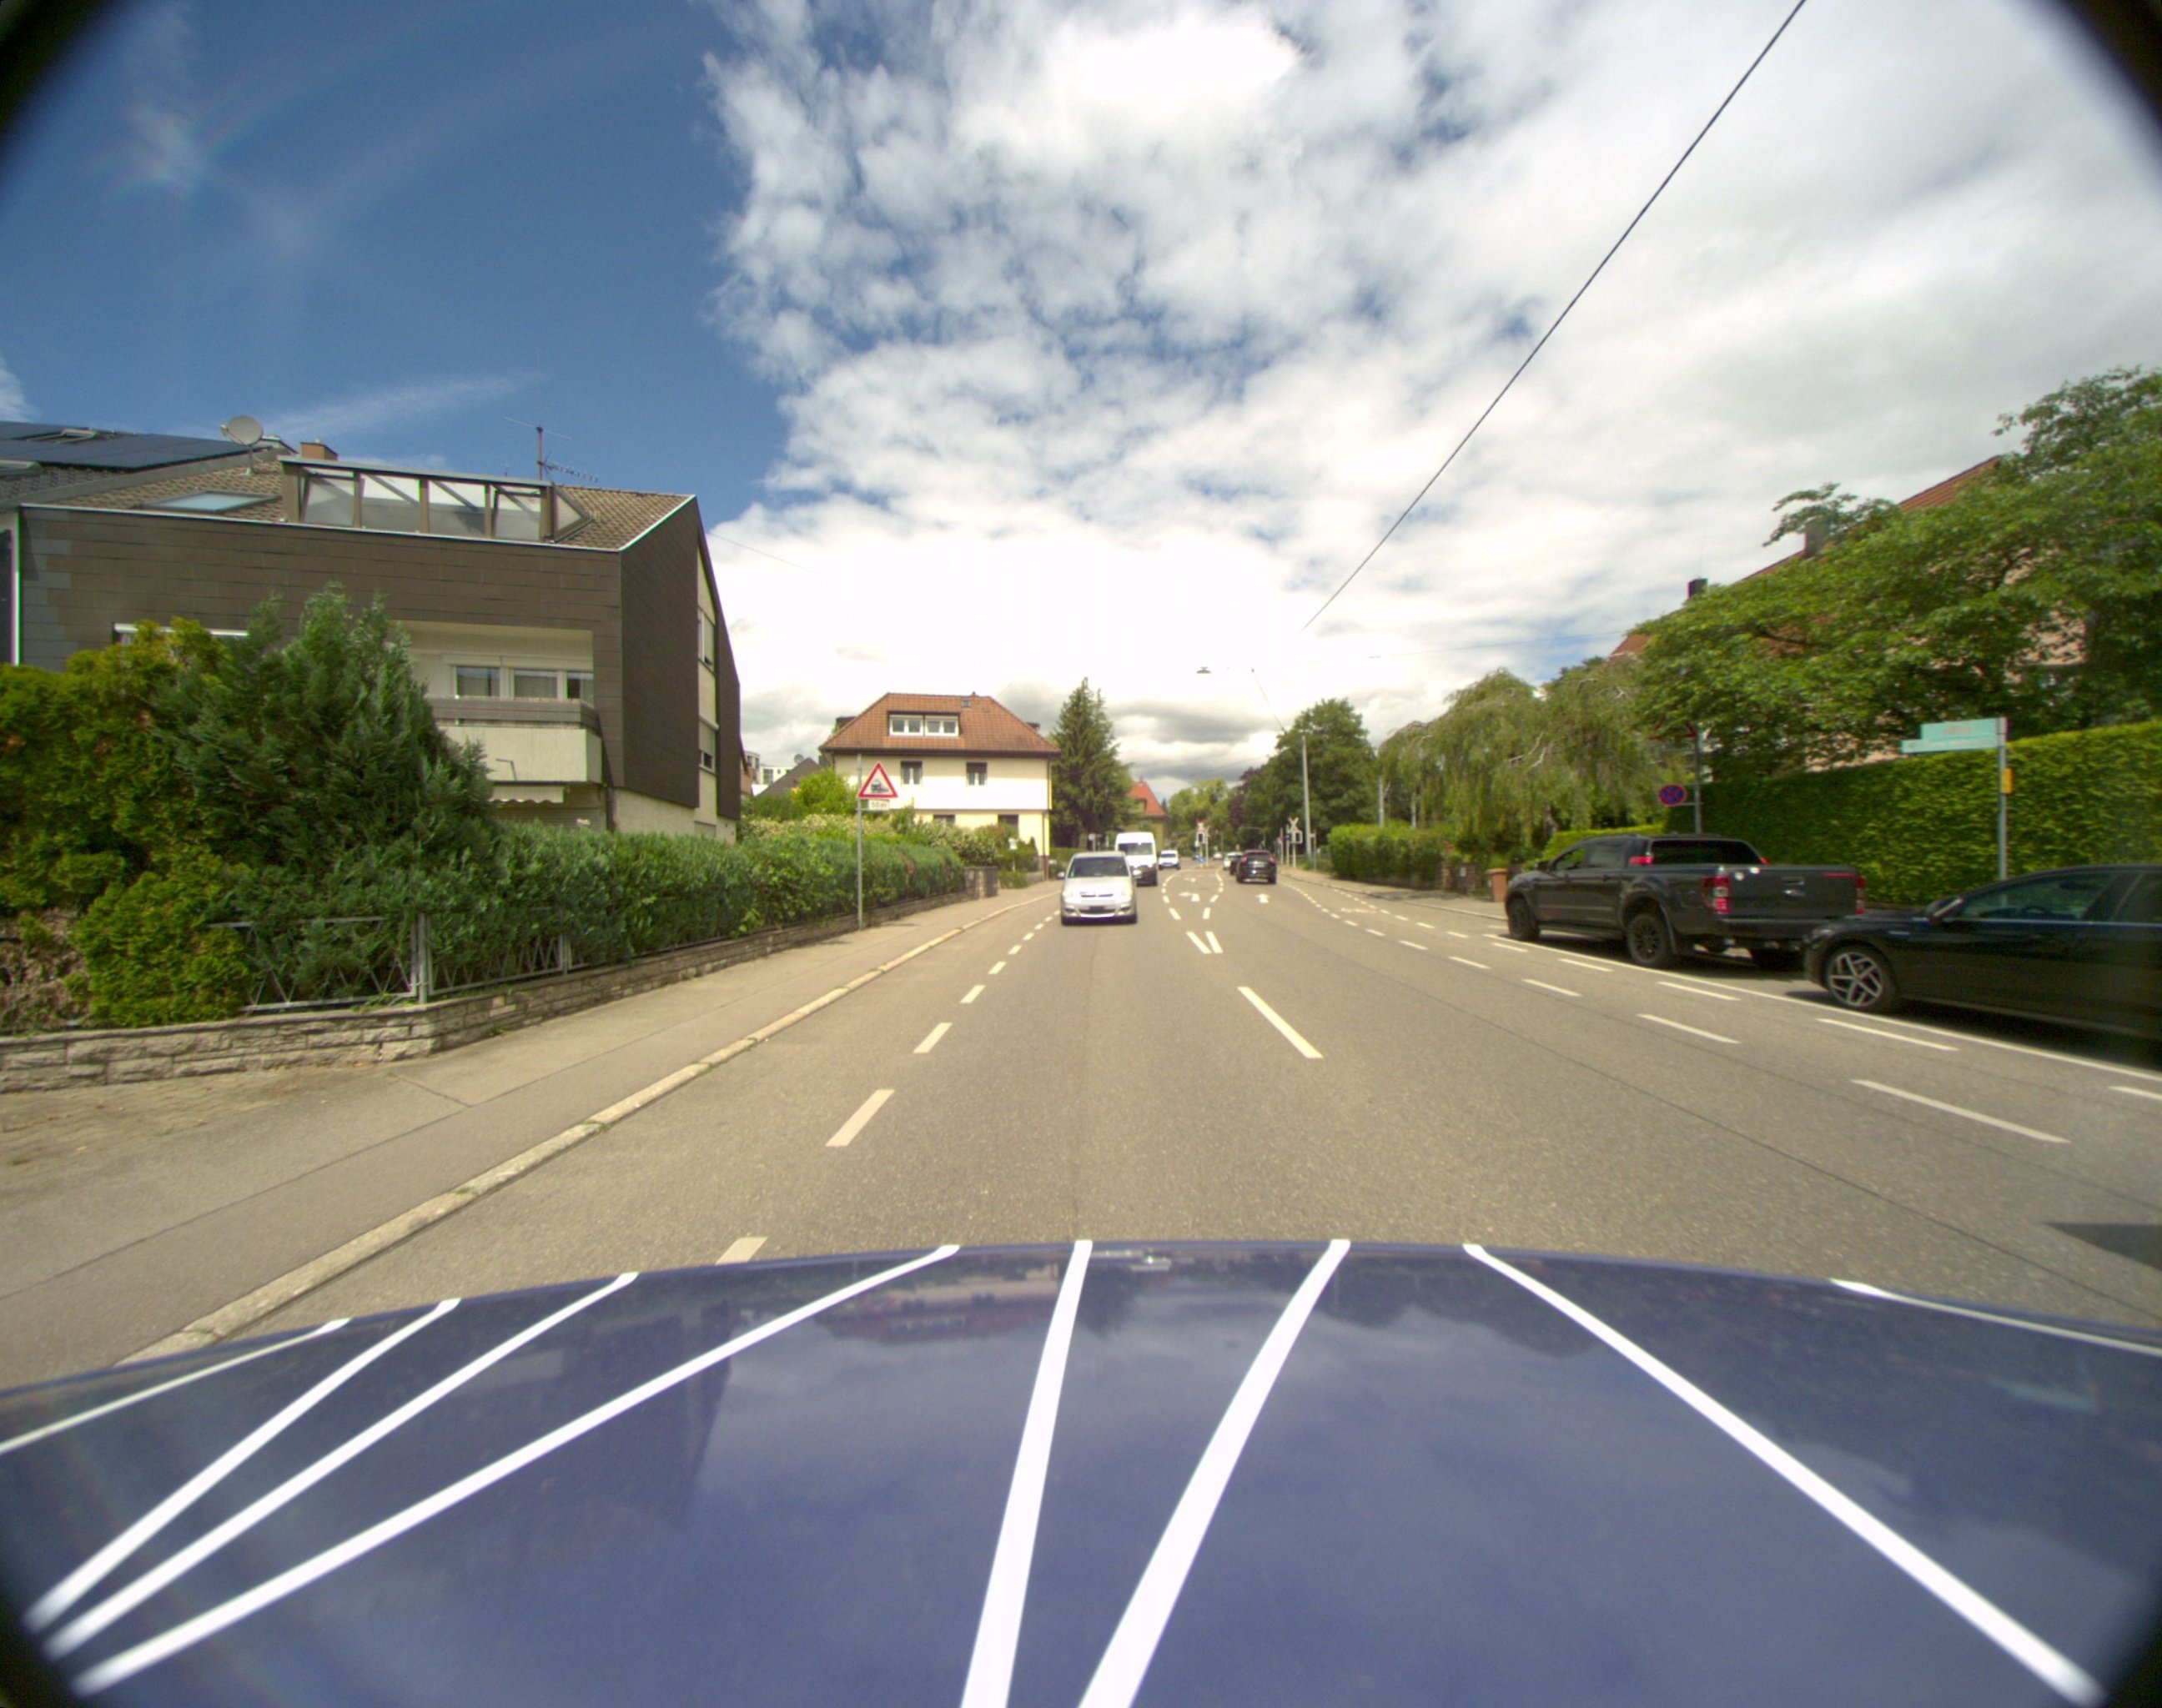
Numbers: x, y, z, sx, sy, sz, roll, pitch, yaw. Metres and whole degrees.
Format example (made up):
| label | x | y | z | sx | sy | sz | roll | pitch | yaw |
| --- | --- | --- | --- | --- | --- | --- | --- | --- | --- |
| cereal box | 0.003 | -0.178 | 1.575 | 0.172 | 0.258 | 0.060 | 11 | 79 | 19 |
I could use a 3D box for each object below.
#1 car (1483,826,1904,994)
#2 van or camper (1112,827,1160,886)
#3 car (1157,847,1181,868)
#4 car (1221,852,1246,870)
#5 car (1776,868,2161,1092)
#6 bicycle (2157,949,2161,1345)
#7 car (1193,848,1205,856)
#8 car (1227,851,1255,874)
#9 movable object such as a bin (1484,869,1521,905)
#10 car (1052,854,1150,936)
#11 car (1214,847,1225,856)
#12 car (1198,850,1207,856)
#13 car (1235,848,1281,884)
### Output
| label | x | y | z | sx | sy | sz | roll | pitch | yaw |
| --- | --- | --- | --- | --- | --- | --- | --- | --- | --- |
| car | 8.382 | 0.619 | 11.336 | 1.998 | 1.884 | 5.404 | 1 | 0 | 2 |
| van or camper | 2.741 | 0.150 | 37.043 | 2.029 | 2.564 | 5.925 | -2 | -1 | 5 |
| car | 8.106 | 0.298 | 69.663 | 1.932 | 1.771 | 4.003 | -2 | 0 | 10 |
| car | 13.055 | 0.550 | 65.289 | 1.879 | 1.467 | 4.445 | 0 | 1 | 9 |
| car | 8.120 | 0.870 | 5.767 | 1.782 | 1.409 | 4.339 | -1 | 0 | 1 |
| bicycle | 3.889 | 0.956 | 1.135 | 0.865 | 1.294 | 2.662 | -1 | 0 | 3 |
| car | 22.766 | -0.384 | 146.851 | 1.997 | 1.419 | 4.003 | -3 | 1 | 12 |
| car | 10.959 | 0.526 | 52.153 | 1.700 | 1.448 | 4.118 | 1 | 1 | 10 |
| movable object such as a bin | 11.637 | 0.915 | 20.984 | 0.678 | 0.939 | 0.645 | -2 | 1 | 5 |
| car | 0.584 | 0.823 | 17.254 | 1.707 | 1.531 | 4.333 | -2 | 0 | 8 |
| car | 25.164 | -0.484 | 137.681 | 1.931 | 1.412 | 4.003 | -2 | 0 | 11 |
| car | 30.423 | -0.315 | 190.065 | 1.931 | 1.412 | 4.003 | -2 | 0 | 11 |
| car | 8.964 | 0.562 | 38.692 | 1.919 | 1.639 | 4.296 | 3 | 1 | 9 |
